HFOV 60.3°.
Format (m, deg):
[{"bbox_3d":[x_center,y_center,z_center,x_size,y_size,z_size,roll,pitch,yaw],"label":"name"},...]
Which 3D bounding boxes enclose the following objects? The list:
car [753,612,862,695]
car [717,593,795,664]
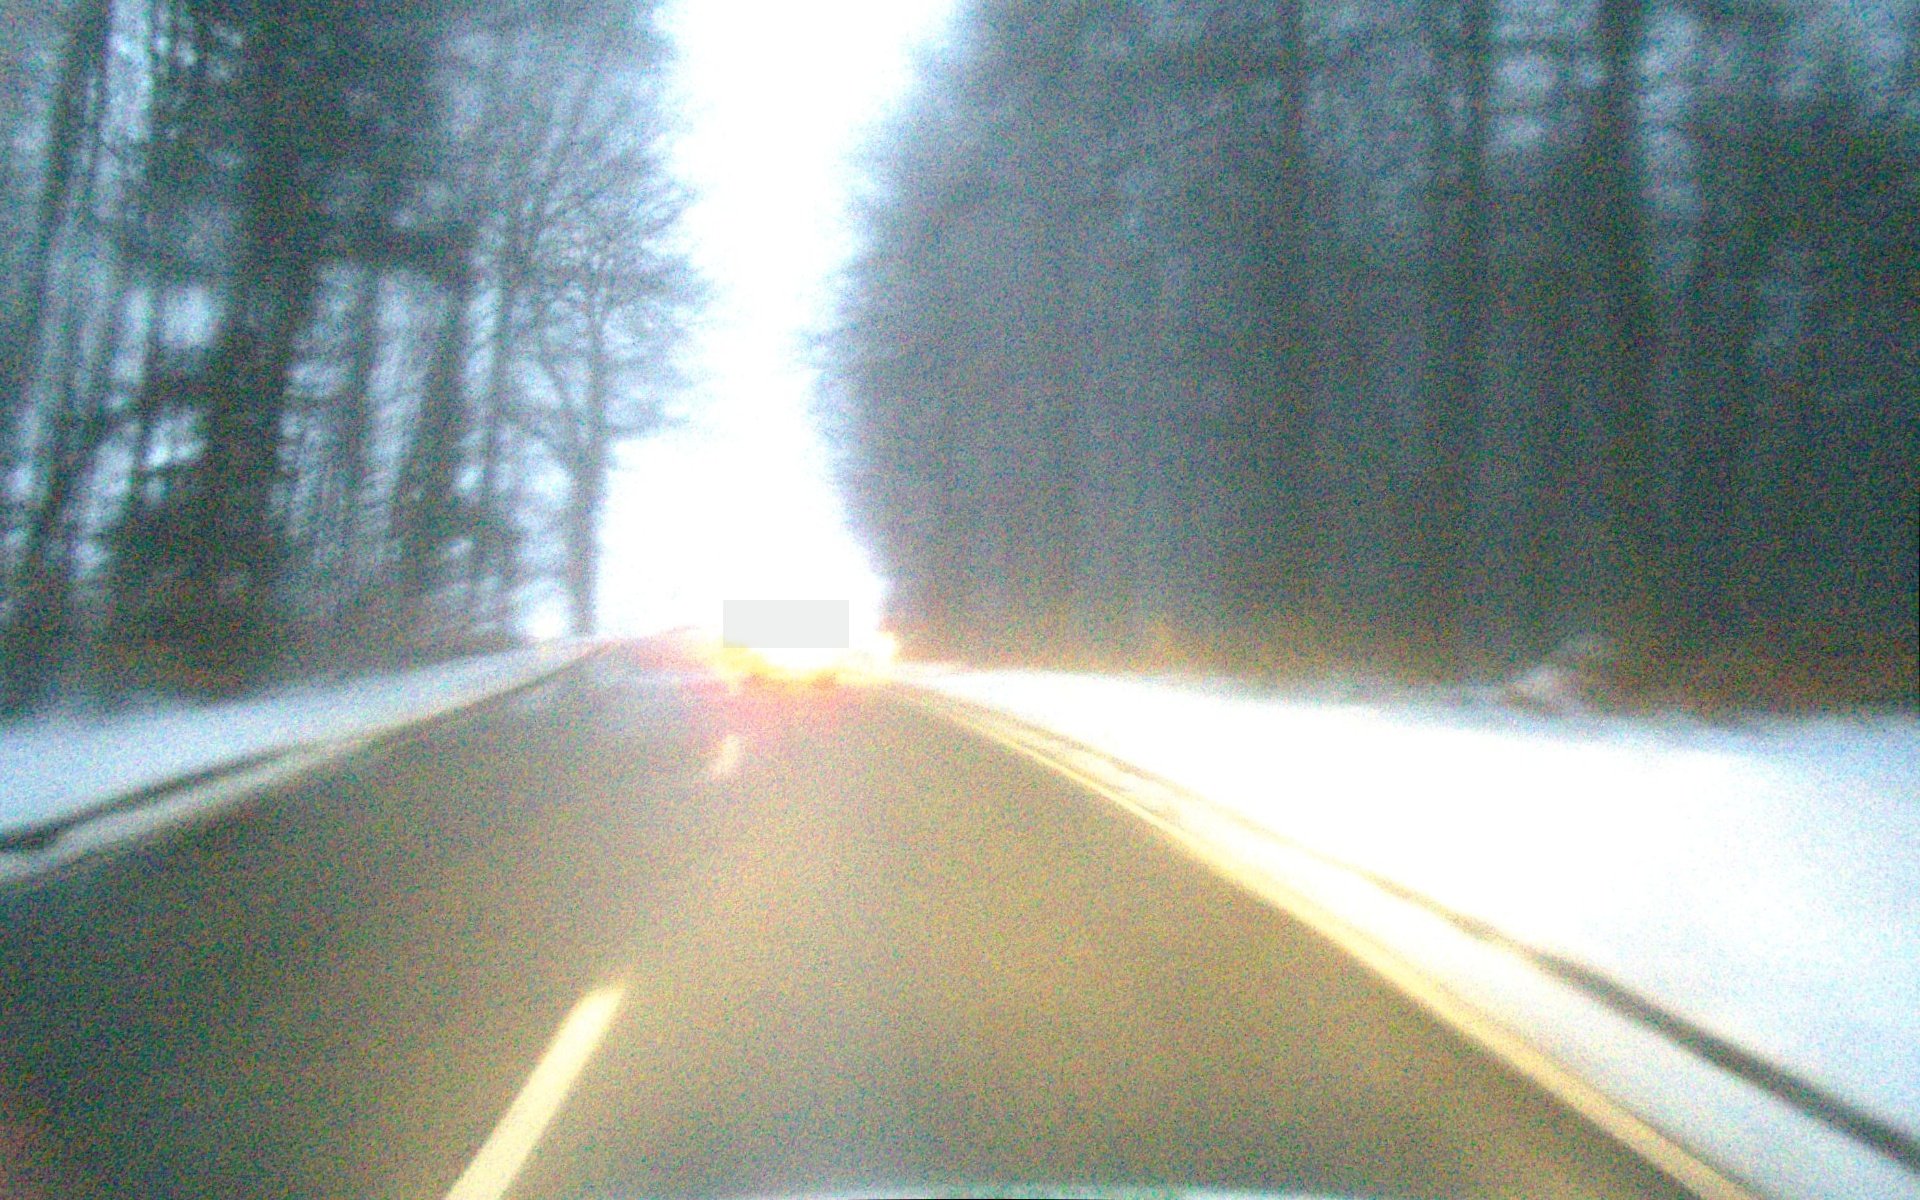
[{"bbox_3d":[-3.057,0.997,32.428,1.909,1.405,3.993,3,-1,-8],"label":"car"},{"bbox_3d":[-5.960,0.805,47.982,1.957,1.814,3.991,5,-1,-9],"label":"car"}]
